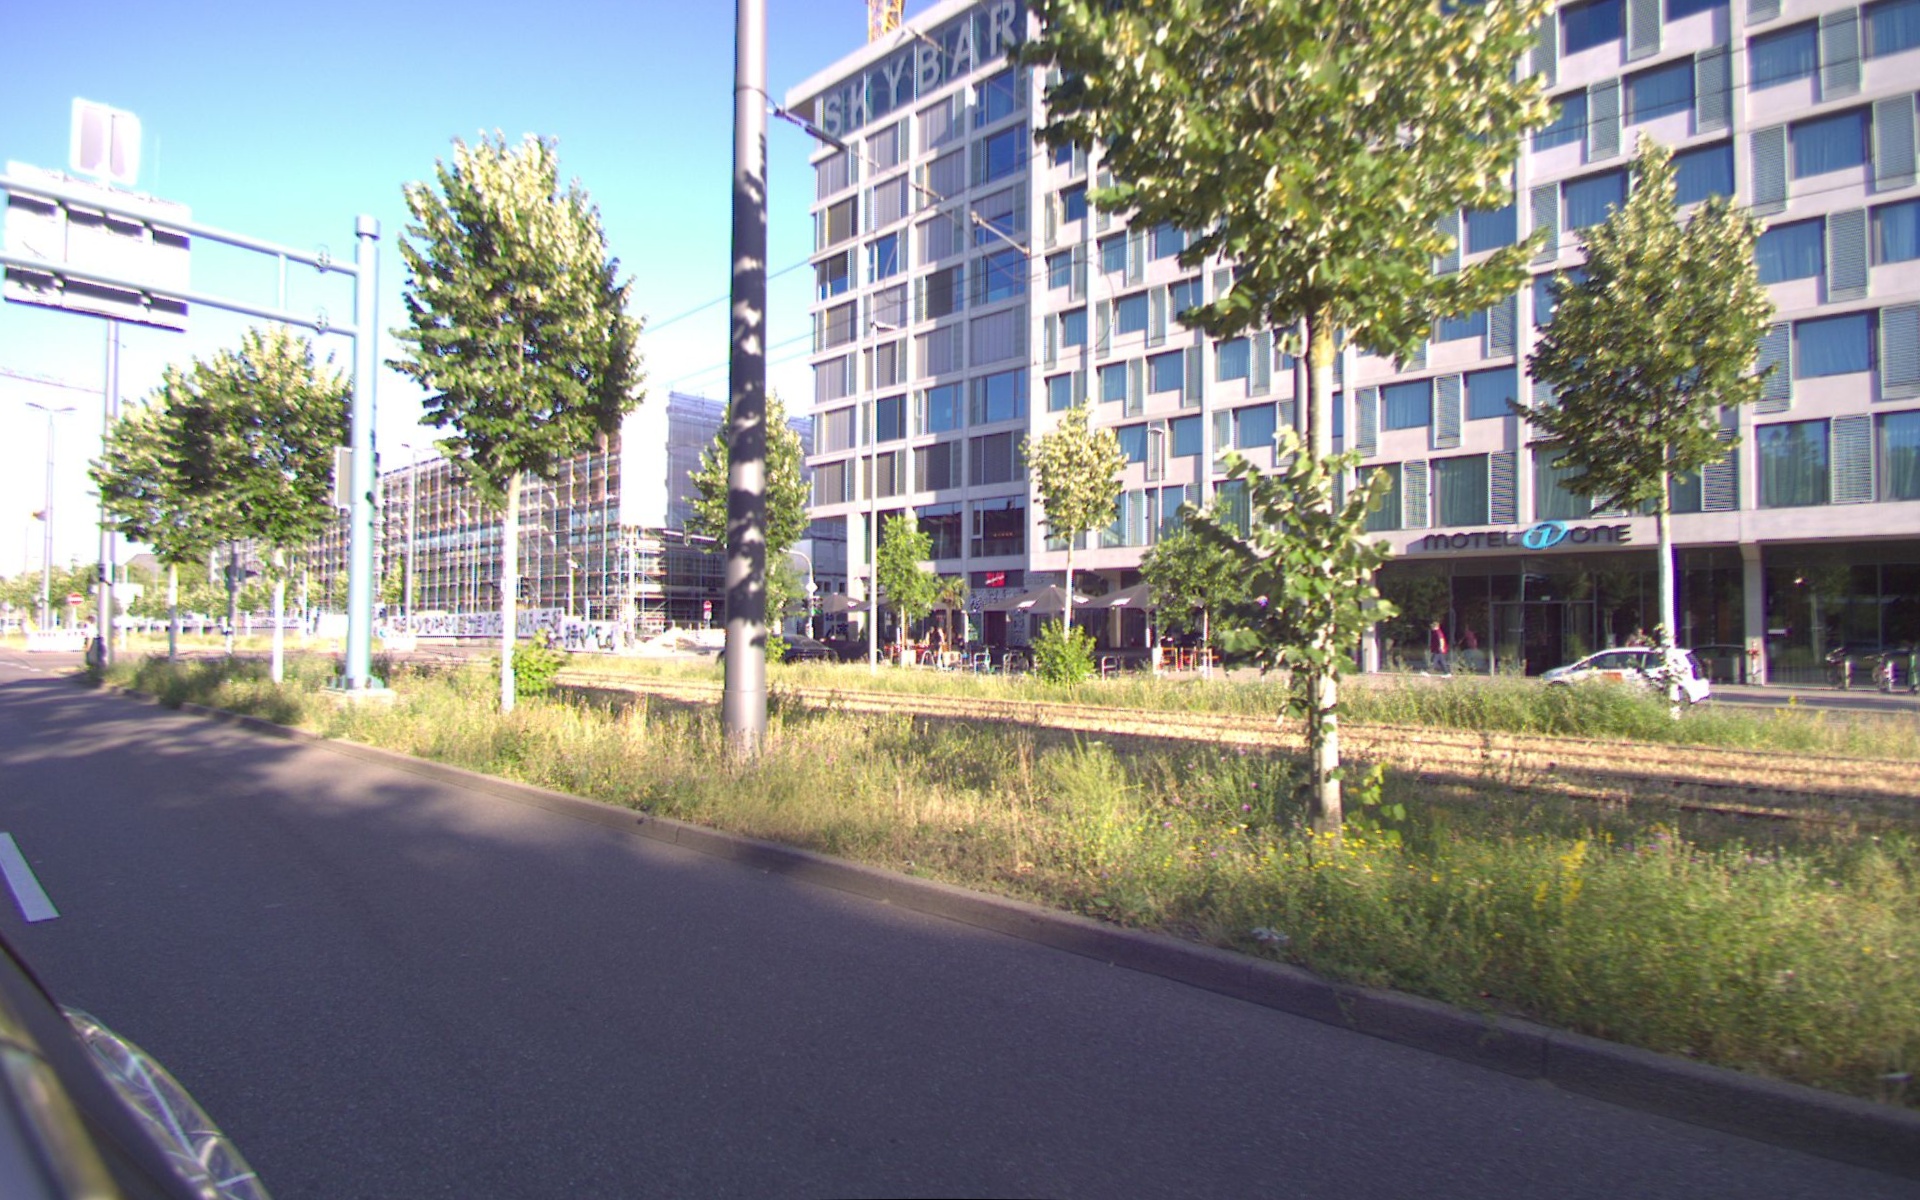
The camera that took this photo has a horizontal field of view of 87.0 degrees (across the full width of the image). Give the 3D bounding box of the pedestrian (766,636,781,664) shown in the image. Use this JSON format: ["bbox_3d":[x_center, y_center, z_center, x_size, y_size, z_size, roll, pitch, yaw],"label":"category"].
[{"bbox_3d":[-10.243,2.754,55.564,0.573,1.510,0.584,-1,-2,21],"label":"pedestrian"}]

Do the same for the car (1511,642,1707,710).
[{"bbox_3d":[16.335,1.853,25.568,3.874,1.503,1.864,-2,-2,44],"label":"car"}]

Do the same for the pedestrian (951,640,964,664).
[{"bbox_3d":[-0.111,2.651,51.808,0.497,1.231,0.427,-2,-3,43],"label":"pedestrian"}]

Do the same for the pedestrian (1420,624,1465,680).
[{"bbox_3d":[16.542,1.764,34.727,0.956,1.885,0.981,1,-2,-11],"label":"pedestrian"}]

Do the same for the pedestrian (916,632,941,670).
[{"bbox_3d":[-1.483,2.384,47.150,0.858,1.735,0.805,2,-3,-38],"label":"pedestrian"}]

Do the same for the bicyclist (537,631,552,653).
[{"bbox_3d":[-27.411,2.758,66.786,0.617,1.476,0.852,2,-3,-44],"label":"bicyclist"}]

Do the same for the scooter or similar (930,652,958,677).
[{"bbox_3d":[-0.652,2.675,42.001,0.406,1.014,1.229,-2,-3,43],"label":"scooter or similar"}]

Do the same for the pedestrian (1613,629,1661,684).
[{"bbox_3d":[21.034,1.732,31.442,1.059,1.683,0.965,-2,-3,44],"label":"pedestrian"}]

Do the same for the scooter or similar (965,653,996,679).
[{"bbox_3d":[0.817,2.603,40.094,0.511,1.027,1.229,-2,-3,43],"label":"scooter or similar"}]

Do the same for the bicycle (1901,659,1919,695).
[{"bbox_3d":[25.586,2.047,26.982,0.511,0.912,1.788,-1,-2,36],"label":"bicycle"}]

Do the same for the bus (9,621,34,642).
[{"bbox_3d":[-147.864,5.019,159.429,2.685,3.247,8.662,2,-3,-44],"label":"bus"}]

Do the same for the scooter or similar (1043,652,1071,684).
[{"bbox_3d":[3.642,2.544,37.923,0.406,1.181,1.229,-2,-3,43],"label":"scooter or similar"}]

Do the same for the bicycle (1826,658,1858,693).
[{"bbox_3d":[24.531,2.093,28.160,0.511,0.912,1.788,-1,-2,36],"label":"bicycle"}]

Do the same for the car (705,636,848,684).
[{"bbox_3d":[-5.822,1.829,31.778,4.849,1.354,1.871,-2,-3,42],"label":"car"}]

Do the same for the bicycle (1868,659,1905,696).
[{"bbox_3d":[25.028,2.074,27.358,0.511,0.912,1.788,-1,-2,36],"label":"bicycle"}]

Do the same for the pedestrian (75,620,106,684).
[{"bbox_3d":[-23.900,1.418,27.819,0.591,1.712,0.715,2,-3,-42],"label":"pedestrian"}]

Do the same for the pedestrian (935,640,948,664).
[{"bbox_3d":[-0.956,2.679,52.490,0.497,1.231,0.427,-2,-3,43],"label":"pedestrian"}]

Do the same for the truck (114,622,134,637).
[{"bbox_3d":[-147.219,5.262,178.149,4.741,2.594,2.114,-2,-3,44],"label":"truck"}]

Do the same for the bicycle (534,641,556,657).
[{"bbox_3d":[-27.419,3.231,66.790,0.617,1.075,2.079,2,-3,-44],"label":"bicycle"}]

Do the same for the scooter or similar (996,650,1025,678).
[{"bbox_3d":[1.954,2.465,39.079,0.435,1.027,1.229,-2,-3,43],"label":"scooter or similar"}]

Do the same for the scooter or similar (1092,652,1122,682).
[{"bbox_3d":[5.232,2.375,35.932,0.435,1.027,1.229,-2,-3,43],"label":"scooter or similar"}]

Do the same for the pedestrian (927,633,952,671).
[{"bbox_3d":[-0.952,2.368,46.553,0.858,1.735,0.805,2,-3,-38],"label":"pedestrian"}]
